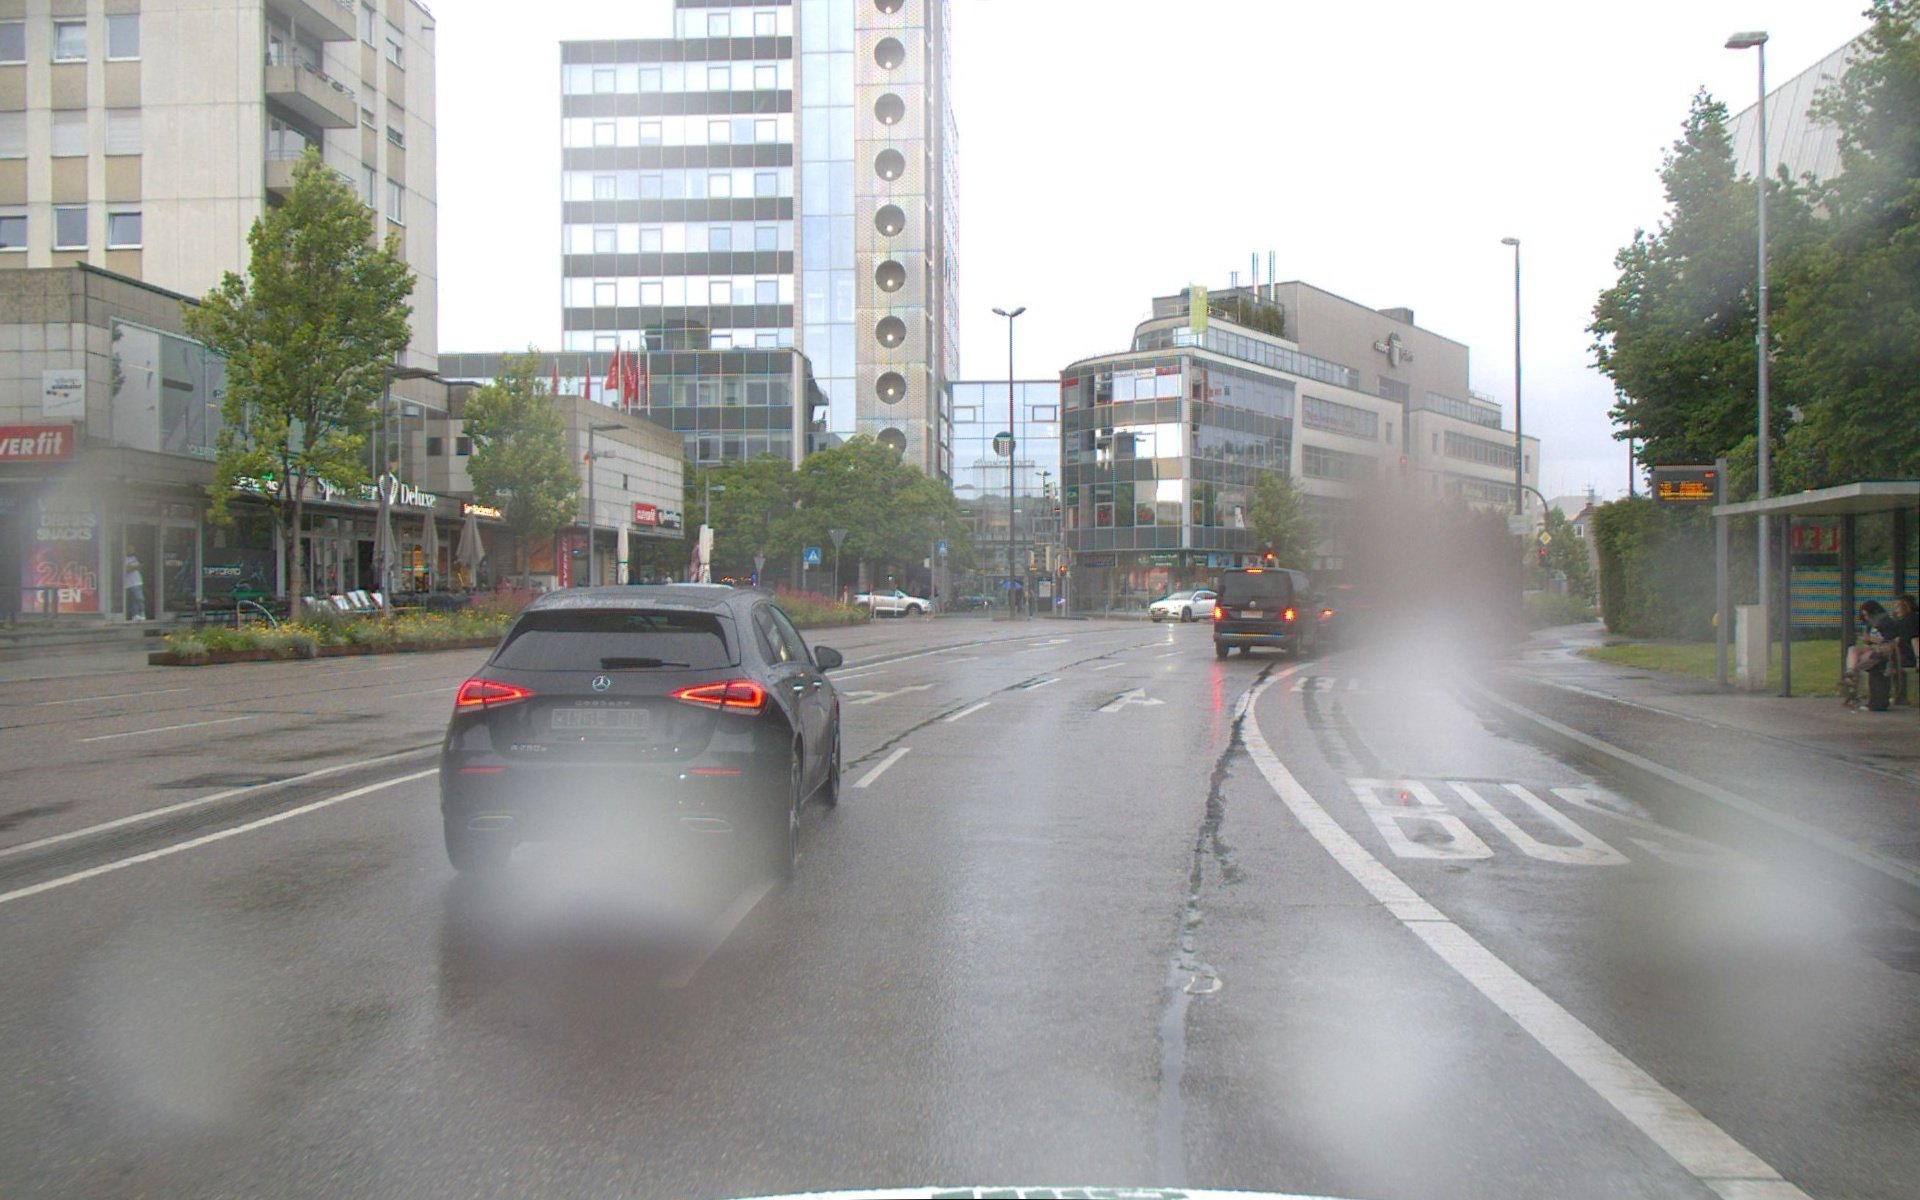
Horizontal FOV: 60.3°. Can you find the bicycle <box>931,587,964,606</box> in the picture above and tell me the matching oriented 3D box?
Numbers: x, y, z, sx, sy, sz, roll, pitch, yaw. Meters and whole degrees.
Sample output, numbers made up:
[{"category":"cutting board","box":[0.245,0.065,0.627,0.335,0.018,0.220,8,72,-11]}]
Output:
[{"category":"bicycle","box":[-0.867,-0.219,114.381,2.226,1.268,0.677,-1,0,3]}]

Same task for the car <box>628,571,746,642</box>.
[{"category":"car","box":[-6.121,0.115,37.540,1.664,1.492,4.106,-1,1,4]}]

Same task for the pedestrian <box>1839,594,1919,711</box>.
[{"category":"pedestrian","box":[10.981,0.600,19.345,1.008,1.303,0.692,-3,1,3]}]

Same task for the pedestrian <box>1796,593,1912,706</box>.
[{"category":"pedestrian","box":[10.849,0.591,20.098,1.008,1.303,0.692,-3,1,3]}]

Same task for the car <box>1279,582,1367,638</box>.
[{"category":"car","box":[9.801,0.230,44.422,1.598,1.410,4.514,1,1,22]}]

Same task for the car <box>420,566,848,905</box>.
[{"category":"car","box":[-1.638,0.591,9.565,1.778,1.556,3.812,1,1,-1]}]

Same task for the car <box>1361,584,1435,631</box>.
[{"category":"car","box":[15.060,0.228,56.790,1.602,1.473,4.264,1,2,27]}]

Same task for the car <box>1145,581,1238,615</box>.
[{"category":"car","box":[10.571,-0.109,75.306,1.816,1.486,4.777,1,1,43]}]

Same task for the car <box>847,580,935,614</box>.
[{"category":"car","box":[-3.437,-0.155,83.263,4.102,1.623,1.872,1,0,10]}]

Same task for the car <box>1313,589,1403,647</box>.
[{"category":"car","box":[12.218,0.520,50.597,1.863,1.649,4.333,0,1,25]}]

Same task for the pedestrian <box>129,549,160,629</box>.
[{"category":"pedestrian","box":[-19.213,-0.261,38.960,0.417,1.880,0.501,0,0,15]}]

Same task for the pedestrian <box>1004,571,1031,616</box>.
[{"category":"pedestrian","box":[2.676,-0.321,76.845,1.139,2.049,1.328,0,1,-2]}]

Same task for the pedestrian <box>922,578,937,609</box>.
[{"category":"pedestrian","box":[-1.978,-0.432,108.276,0.754,2.049,0.707,0,1,-29]}]

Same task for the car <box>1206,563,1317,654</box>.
[{"category":"car","box":[6.953,0.159,37.769,1.953,1.927,4.589,0,0,17]}]

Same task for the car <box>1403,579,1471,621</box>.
[{"category":"car","box":[18.038,-0.015,62.441,1.874,1.424,3.455,0,2,27]}]
